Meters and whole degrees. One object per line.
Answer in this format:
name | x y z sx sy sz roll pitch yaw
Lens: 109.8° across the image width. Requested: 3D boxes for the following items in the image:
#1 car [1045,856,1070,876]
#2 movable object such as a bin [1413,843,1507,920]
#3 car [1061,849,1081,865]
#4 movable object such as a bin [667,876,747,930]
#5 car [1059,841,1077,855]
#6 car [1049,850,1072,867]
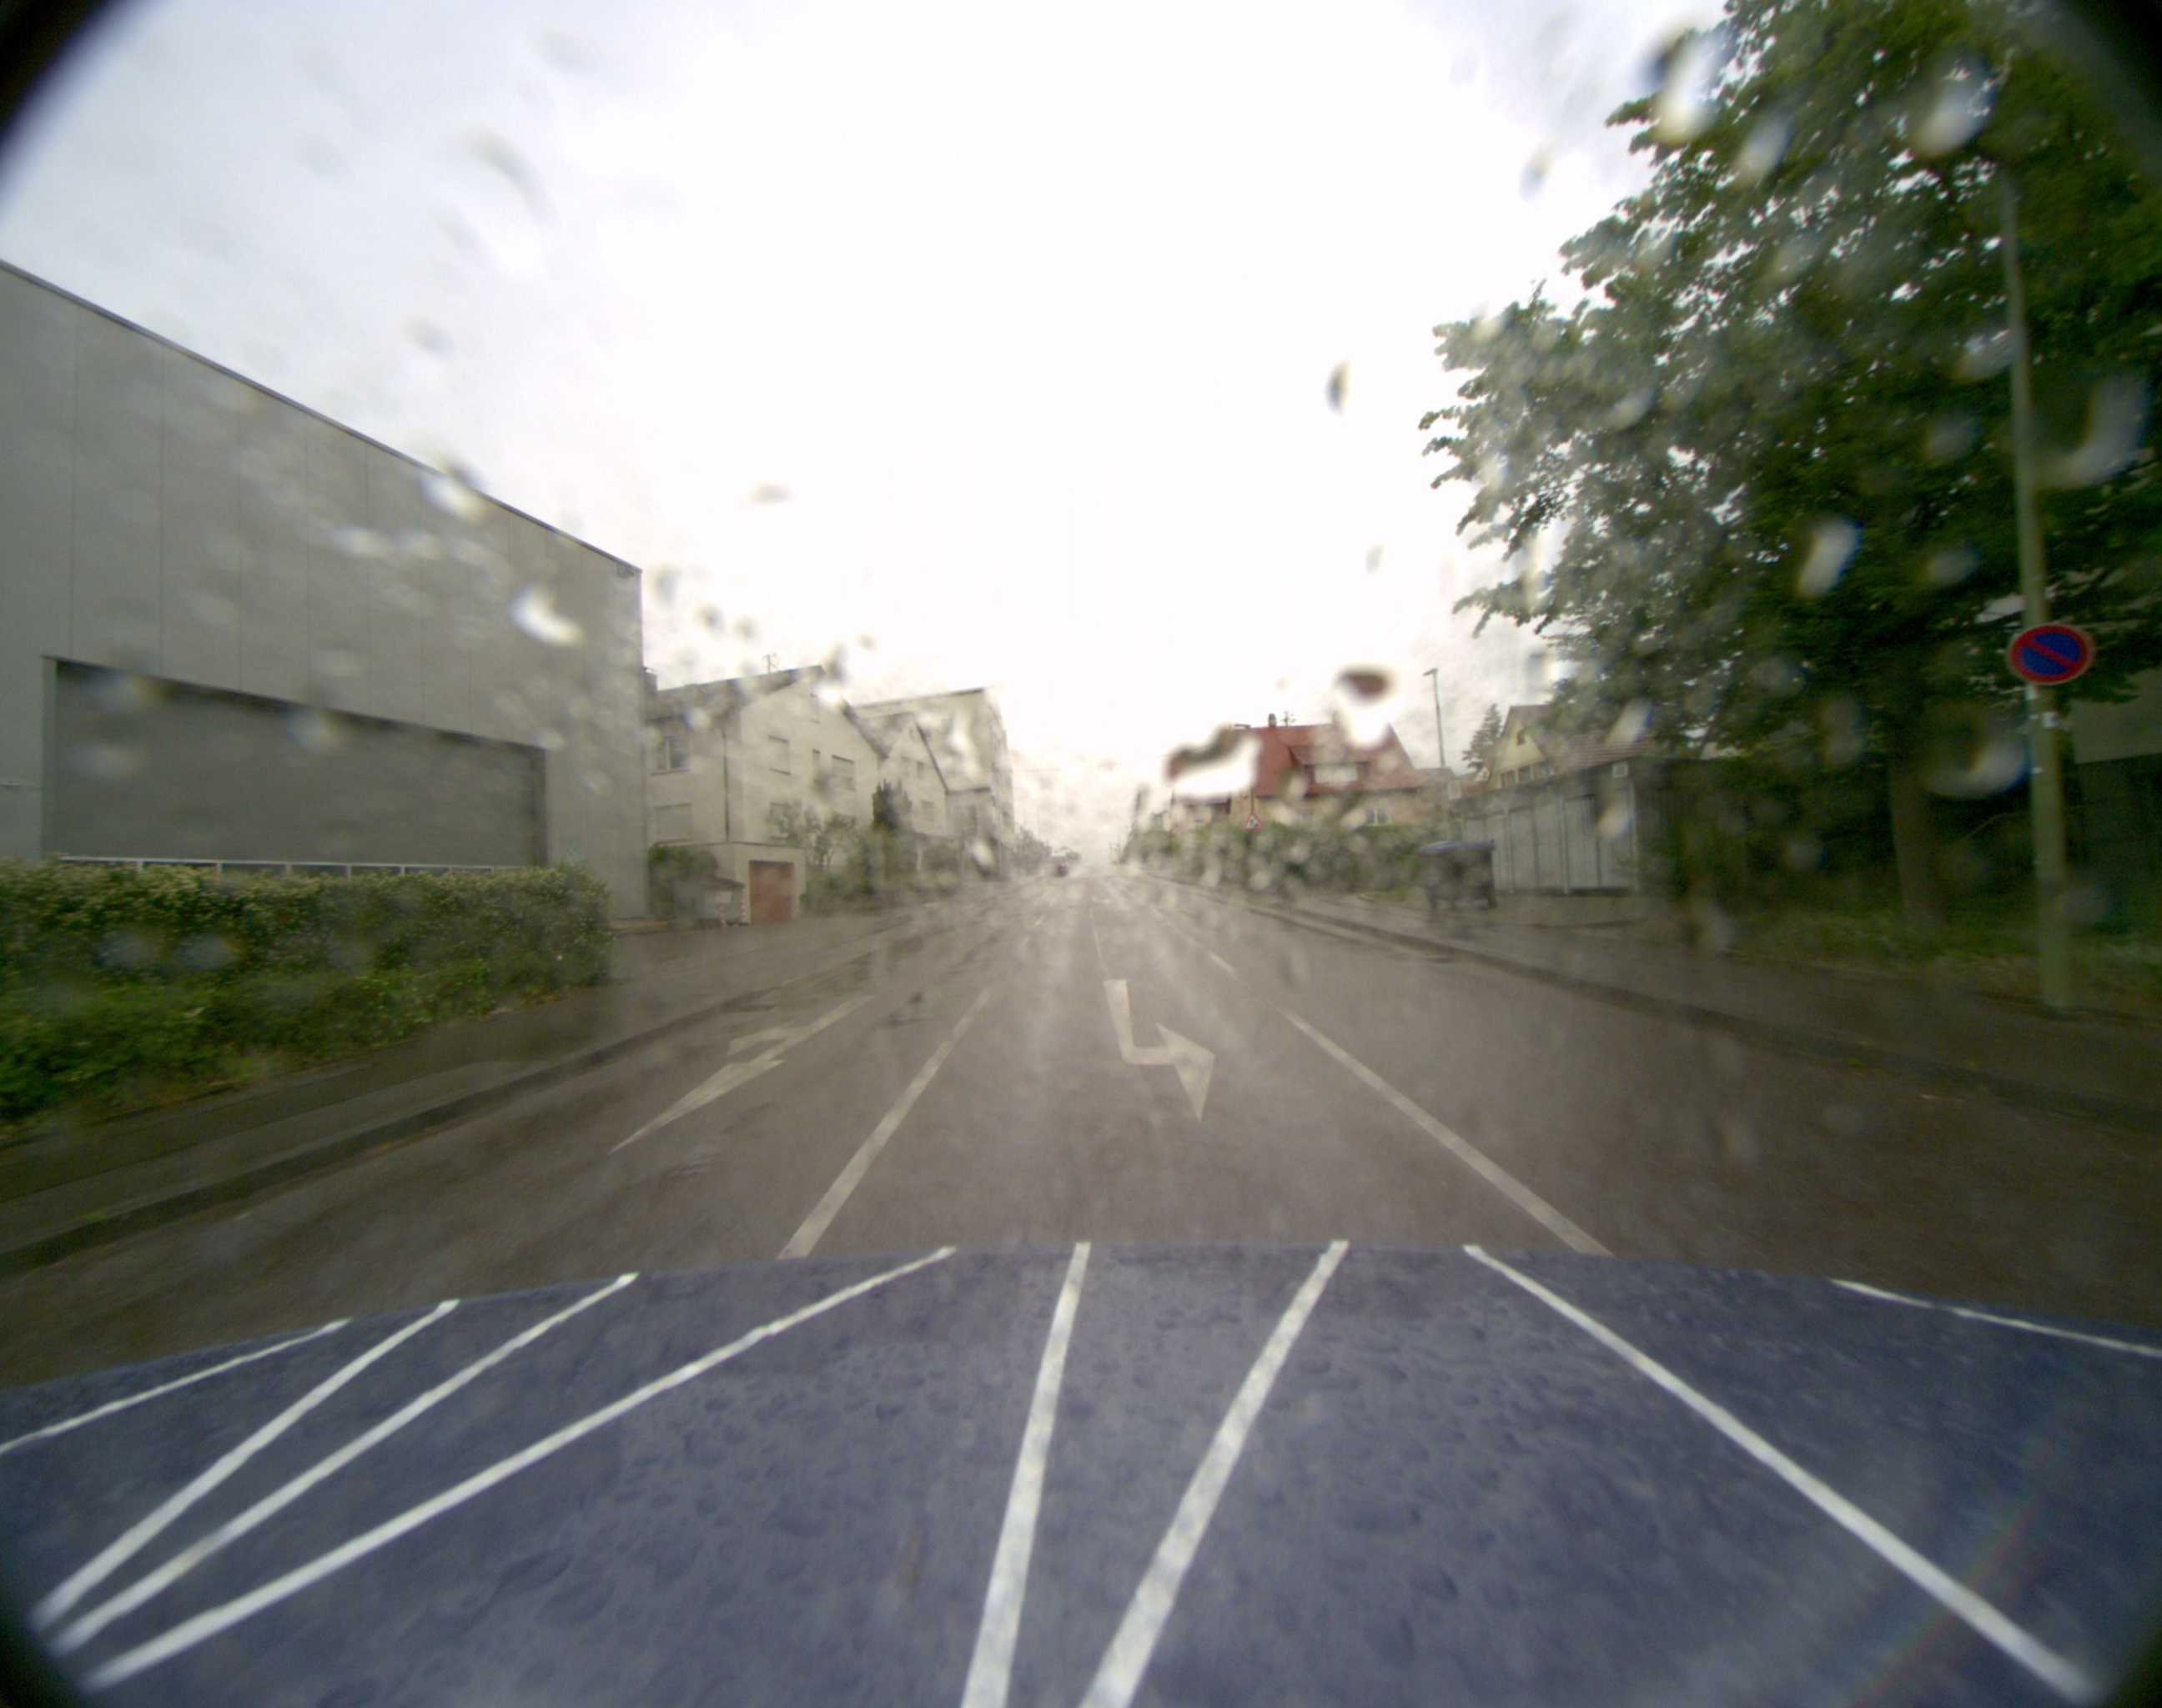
car | -2.006 1.005 65.371 1.848 1.514 4.000 -3 0 2
movable object such as a bin | 7.220 0.511 14.565 1.056 1.289 1.201 -8 -1 1
car | -1.018 0.291 78.152 1.848 1.514 4.000 -3 0 2
movable object such as a bin | -11.475 1.483 23.378 1.446 1.526 1.591 -2 -1 16
car | -1.539 -0.735 90.076 1.848 1.514 4.000 -3 0 2
car | -1.871 0.409 70.580 1.848 1.514 4.000 -3 0 2
